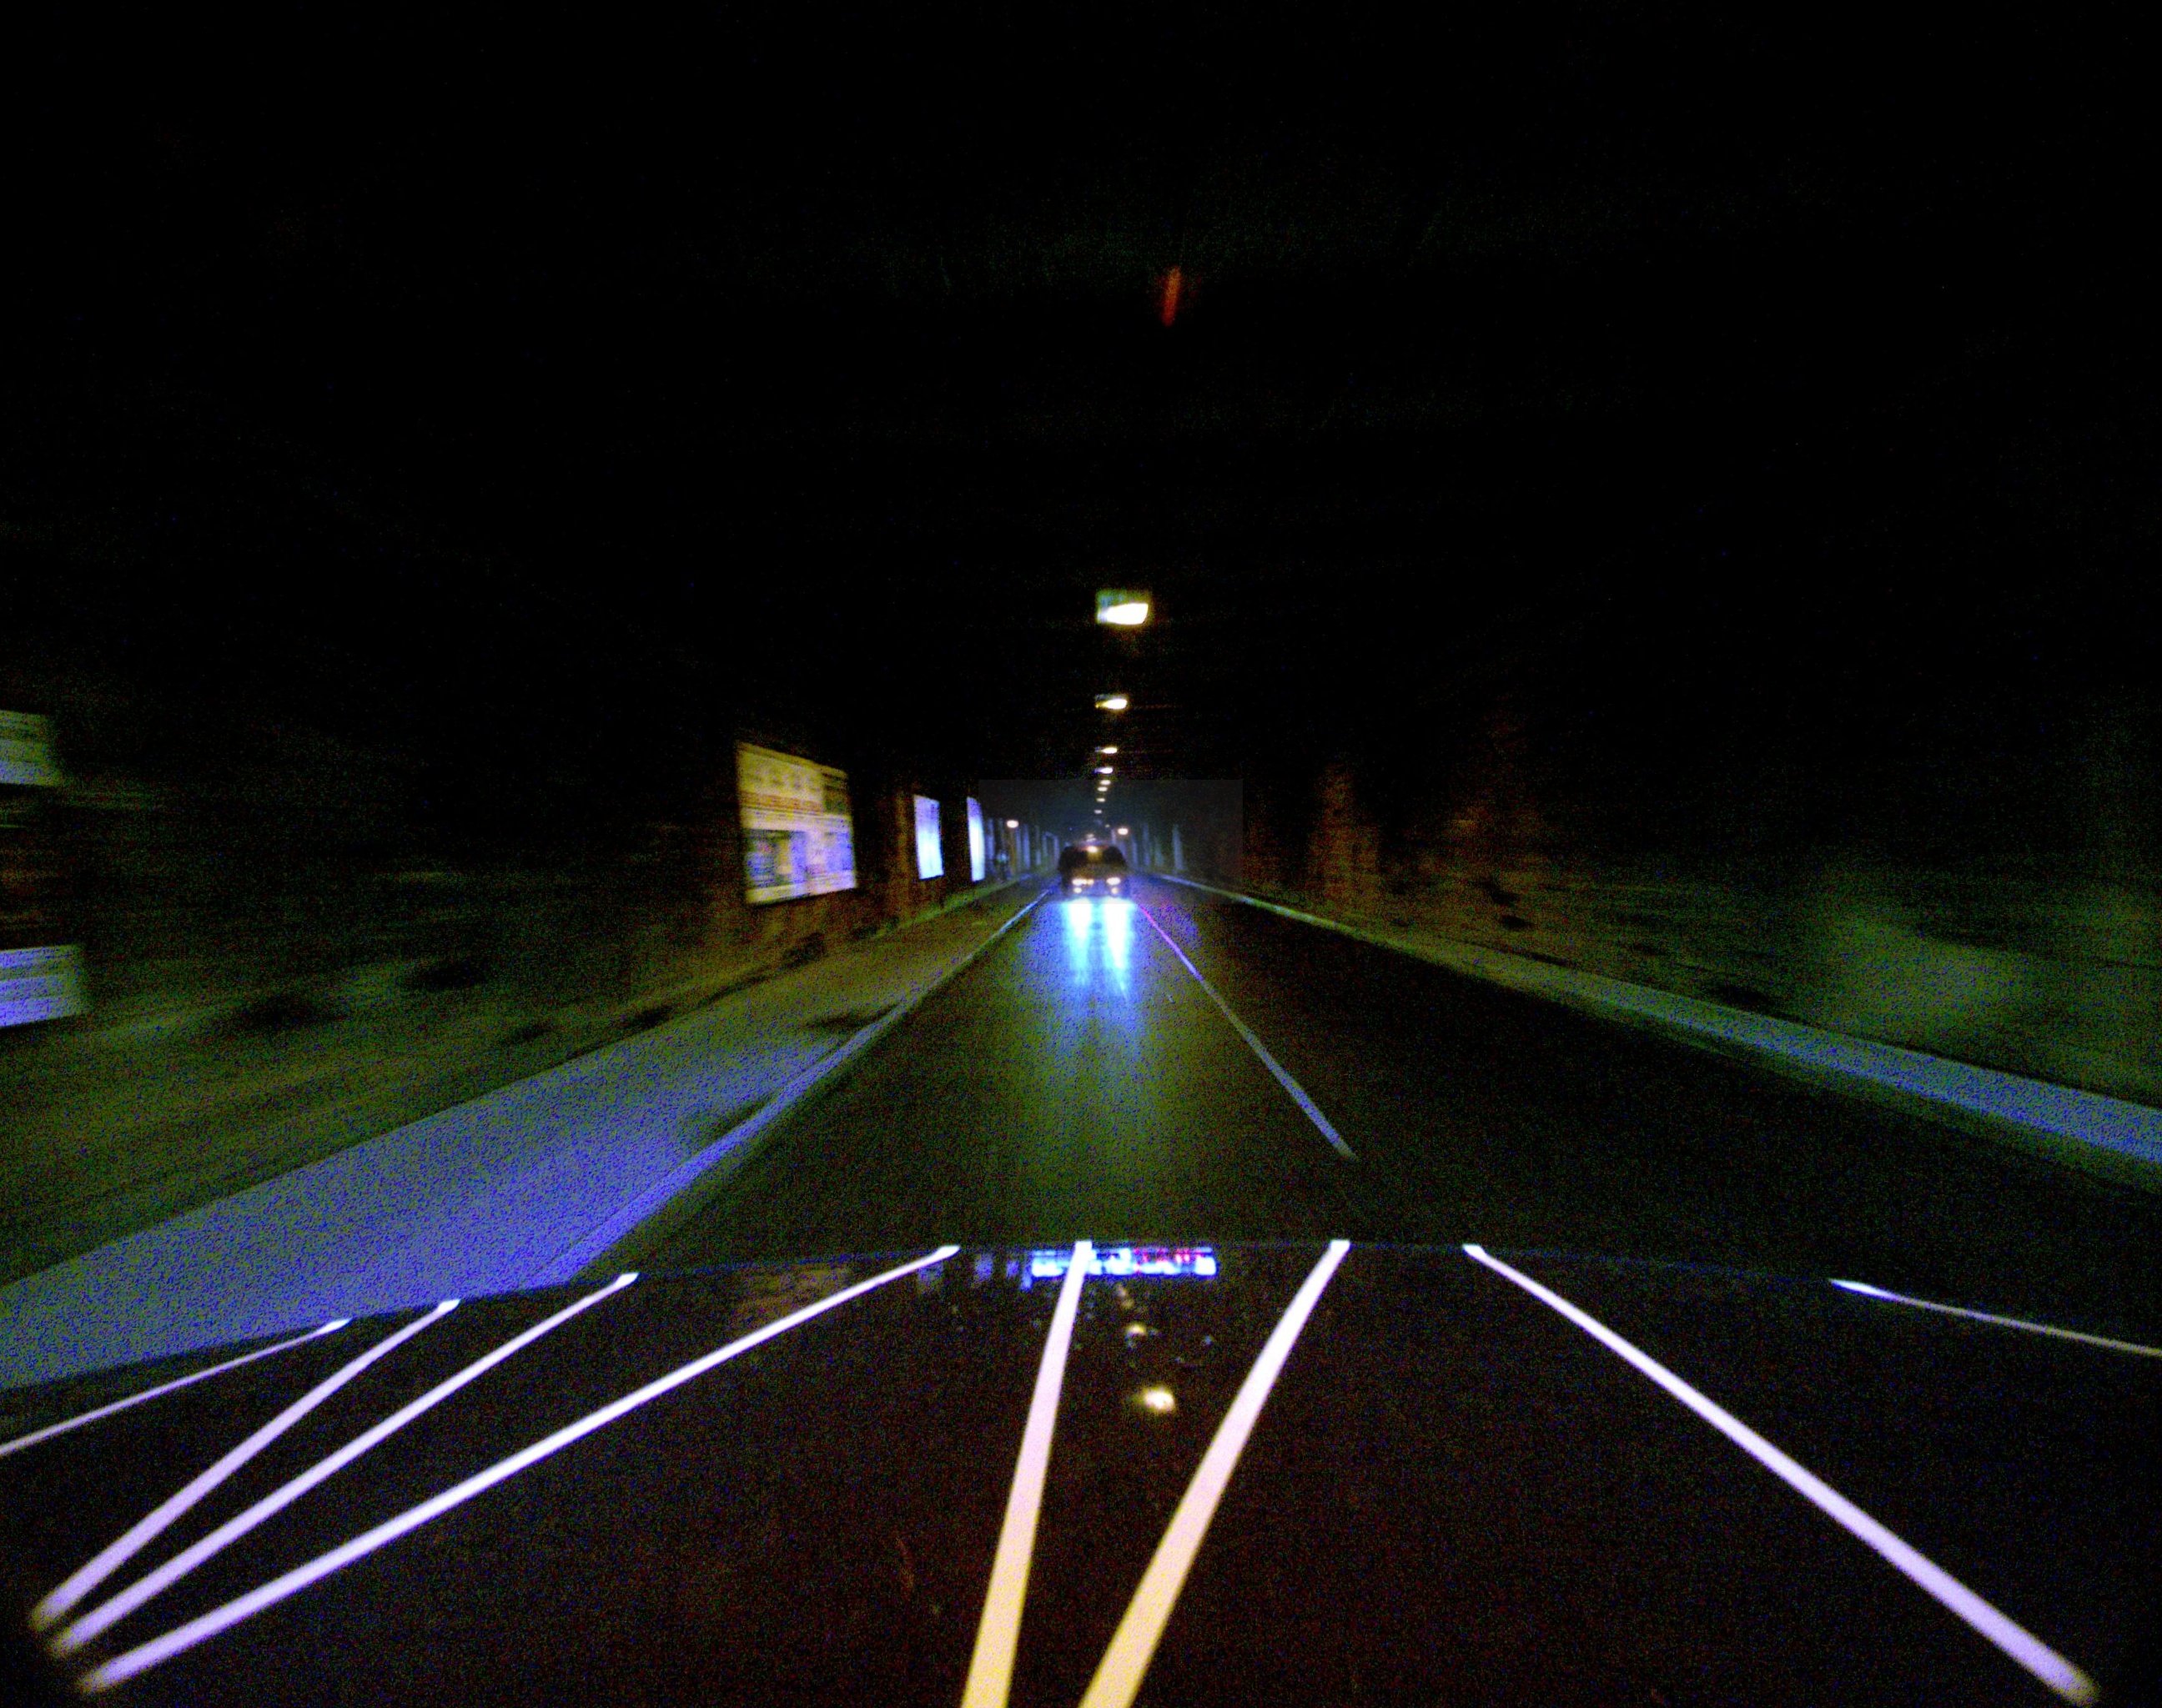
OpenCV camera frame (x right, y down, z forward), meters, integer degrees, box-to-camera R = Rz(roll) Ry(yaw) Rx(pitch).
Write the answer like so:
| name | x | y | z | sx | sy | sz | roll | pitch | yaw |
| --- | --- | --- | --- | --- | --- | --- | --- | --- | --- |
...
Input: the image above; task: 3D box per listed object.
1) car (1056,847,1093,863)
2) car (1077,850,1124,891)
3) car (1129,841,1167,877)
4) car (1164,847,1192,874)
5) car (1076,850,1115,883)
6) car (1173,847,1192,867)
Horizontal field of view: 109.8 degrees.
| name | x | y | z | sx | sy | sz | roll | pitch | yaw |
| --- | --- | --- | --- | --- | --- | --- | --- | --- | --- |
| car | -0.615 | 0.094 | 73.191 | 3.248 | 1.449 | 1.280 | -2 | 1 | 29 |
| car | 0.750 | 0.635 | 31.792 | 1.811 | 1.509 | 4.051 | -1 | 1 | 0 |
| car | 3.710 | 0.244 | 41.904 | 1.912 | 1.791 | 4.001 | -2 | 1 | 5 |
| car | 6.179 | 0.371 | 48.498 | 1.593 | 1.533 | 4.074 | -2 | 1 | 7 |
| car | 0.701 | 0.561 | 37.955 | 1.811 | 1.509 | 4.052 | -1 | 1 | 0 |
| car | 7.301 | 0.178 | 54.838 | 1.277 | 1.308 | 3.321 | -2 | 1 | 6 |
